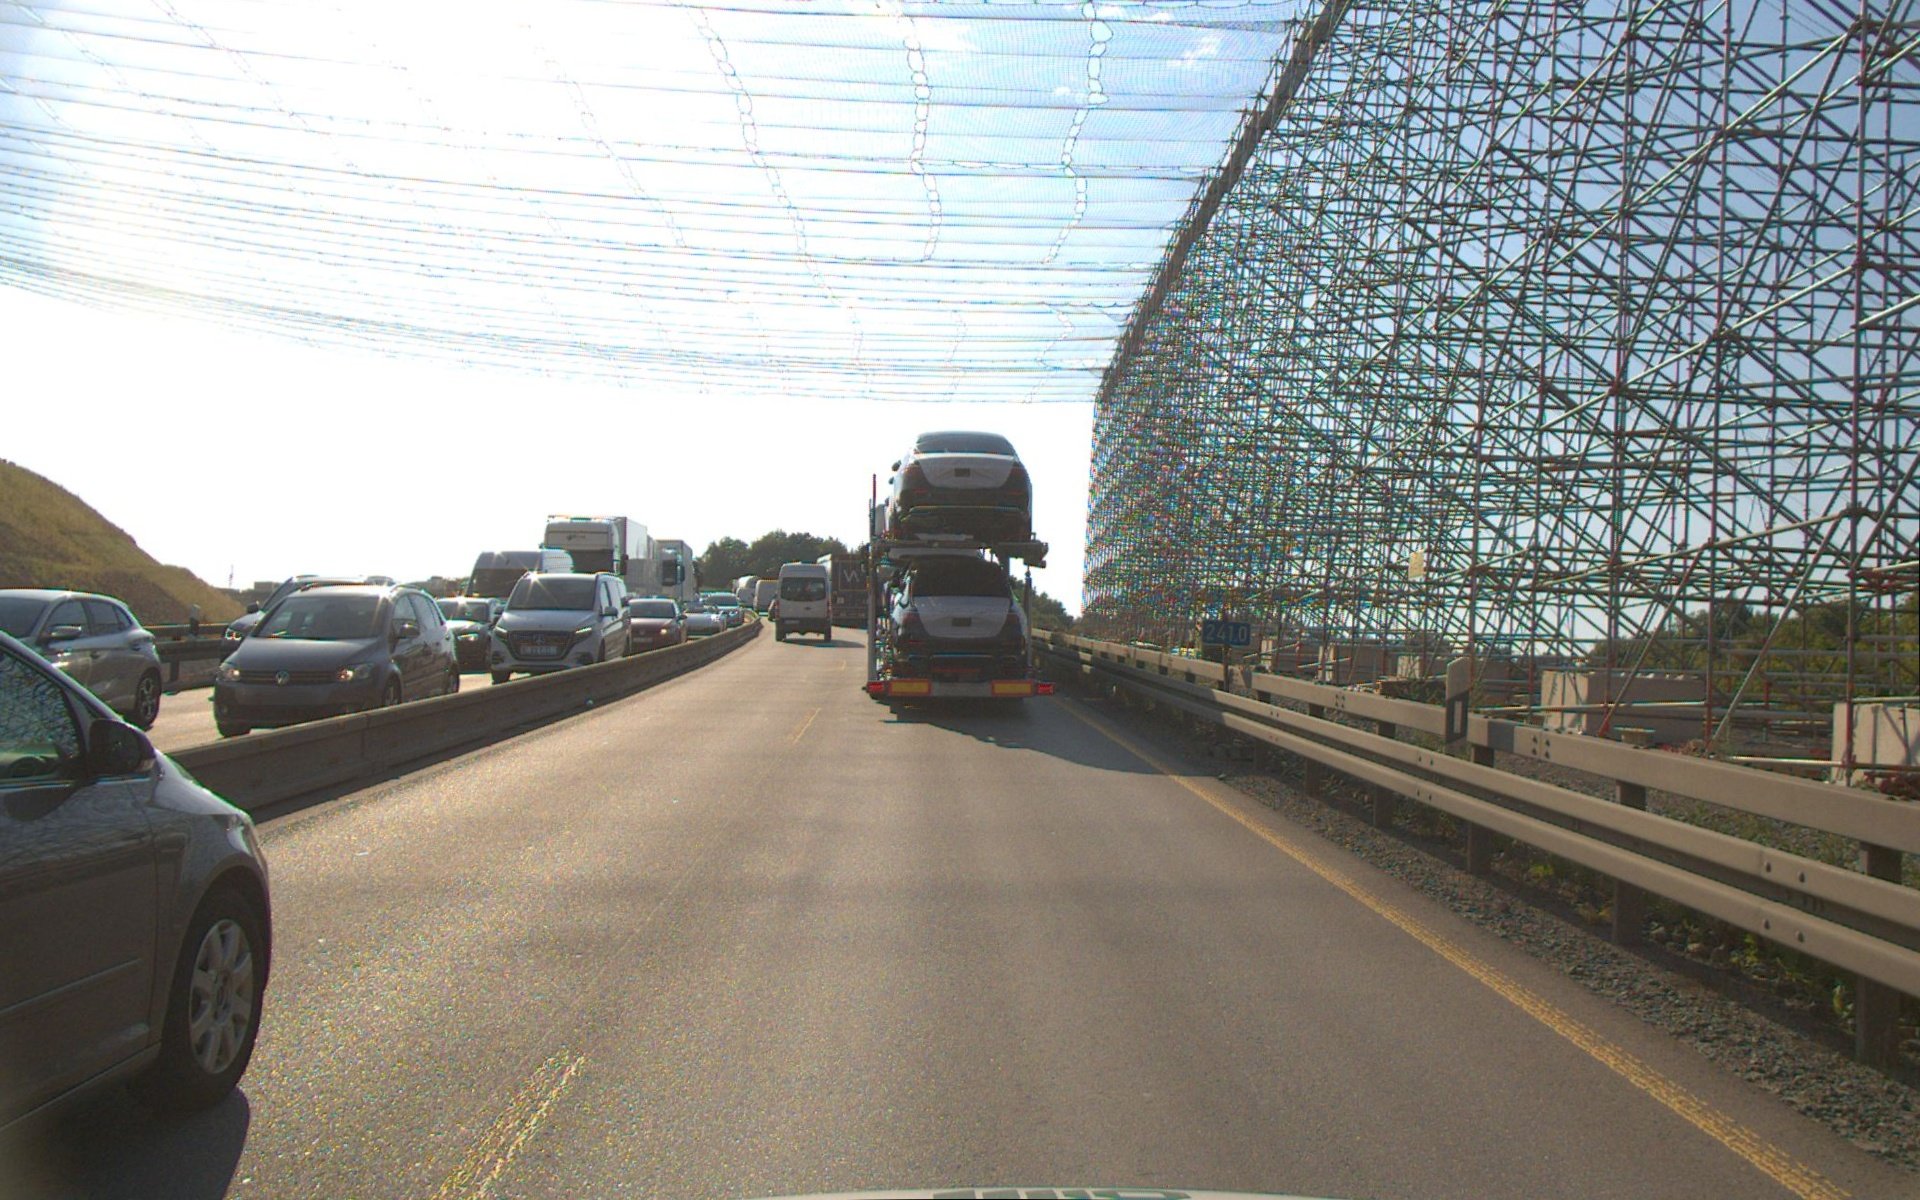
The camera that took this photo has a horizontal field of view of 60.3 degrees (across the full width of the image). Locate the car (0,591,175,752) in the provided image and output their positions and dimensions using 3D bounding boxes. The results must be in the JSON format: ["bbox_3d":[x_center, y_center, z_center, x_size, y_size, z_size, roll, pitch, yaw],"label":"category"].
[{"bbox_3d":[-9.703,0.656,16.804,1.632,1.466,3.850,1,0,-1],"label":"car"}]

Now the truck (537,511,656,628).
[{"bbox_3d":[-12.332,-0.940,57.175,2.545,3.534,12.376,1,0,-6],"label":"truck"}]

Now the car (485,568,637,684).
[{"bbox_3d":[-7.139,0.439,29.983,1.799,1.926,3.999,1,0,-1],"label":"car"}]

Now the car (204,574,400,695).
[{"bbox_3d":[-10.262,0.504,26.105,1.646,1.713,3.997,1,0,-3],"label":"car"}]

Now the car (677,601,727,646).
[{"bbox_3d":[-9.250,0.811,59.193,1.670,1.479,3.991,2,0,-9],"label":"car"}]

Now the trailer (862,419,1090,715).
[{"bbox_3d":[-0.228,-0.350,28.734,2.812,3.790,14.934,0,-1,-4],"label":"trailer"}]

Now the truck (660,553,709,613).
[{"bbox_3d":[-17.259,-1.019,104.100,2.546,3.534,12.370,1,0,-8],"label":"truck"}]

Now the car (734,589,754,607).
[{"bbox_3d":[-20.253,-0.178,155.184,1.676,1.646,3.500,0,-1,-3],"label":"car"}]

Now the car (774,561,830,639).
[{"bbox_3d":[-5.573,0.030,58.680,1.918,2.667,3.996,0,-1,-5],"label":"car"}]

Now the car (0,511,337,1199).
[{"bbox_3d":[-2.876,0.600,3.416,1.649,1.601,4.098,1,-1,-1],"label":"car"}]

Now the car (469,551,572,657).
[{"bbox_3d":[-11.363,0.100,43.002,1.955,2.586,3.994,1,0,-7],"label":"car"}]

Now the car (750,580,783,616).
[{"bbox_3d":[-14.596,-0.164,124.472,1.959,2.623,3.986,2,0,-13],"label":"car"}]

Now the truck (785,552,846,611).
[{"bbox_3d":[-11.684,-1.381,132.443,3.620,4.294,13.635,-3,0,-10],"label":"truck"}]

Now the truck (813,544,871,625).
[{"bbox_3d":[-7.101,-0.901,98.444,2.680,4.462,11.502,1,0,-7],"label":"truck"}]

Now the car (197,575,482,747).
[{"bbox_3d":[-6.726,0.609,18.388,1.661,1.657,3.999,1,0,-1],"label":"car"}]

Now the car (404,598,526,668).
[{"bbox_3d":[-10.191,0.669,34.291,1.551,1.355,3.997,0,-1,-4],"label":"car"}]

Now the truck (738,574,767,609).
[{"bbox_3d":[-23.282,-0.930,185.005,2.569,3.788,9.634,2,0,-11],"label":"truck"}]

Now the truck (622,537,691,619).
[{"bbox_3d":[-14.371,-0.985,79.079,2.546,3.534,12.370,1,0,-8],"label":"truck"}]

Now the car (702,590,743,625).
[{"bbox_3d":[-10.559,0.326,73.419,1.670,1.479,3.991,2,0,-9],"label":"car"}]

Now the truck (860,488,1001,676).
[{"bbox_3d":[-0.771,-0.327,36.956,2.824,3.767,7.320,0,-1,-3],"label":"truck"}]

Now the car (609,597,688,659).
[{"bbox_3d":[-8.054,0.696,43.016,1.802,1.479,3.992,2,0,-8],"label":"car"}]
